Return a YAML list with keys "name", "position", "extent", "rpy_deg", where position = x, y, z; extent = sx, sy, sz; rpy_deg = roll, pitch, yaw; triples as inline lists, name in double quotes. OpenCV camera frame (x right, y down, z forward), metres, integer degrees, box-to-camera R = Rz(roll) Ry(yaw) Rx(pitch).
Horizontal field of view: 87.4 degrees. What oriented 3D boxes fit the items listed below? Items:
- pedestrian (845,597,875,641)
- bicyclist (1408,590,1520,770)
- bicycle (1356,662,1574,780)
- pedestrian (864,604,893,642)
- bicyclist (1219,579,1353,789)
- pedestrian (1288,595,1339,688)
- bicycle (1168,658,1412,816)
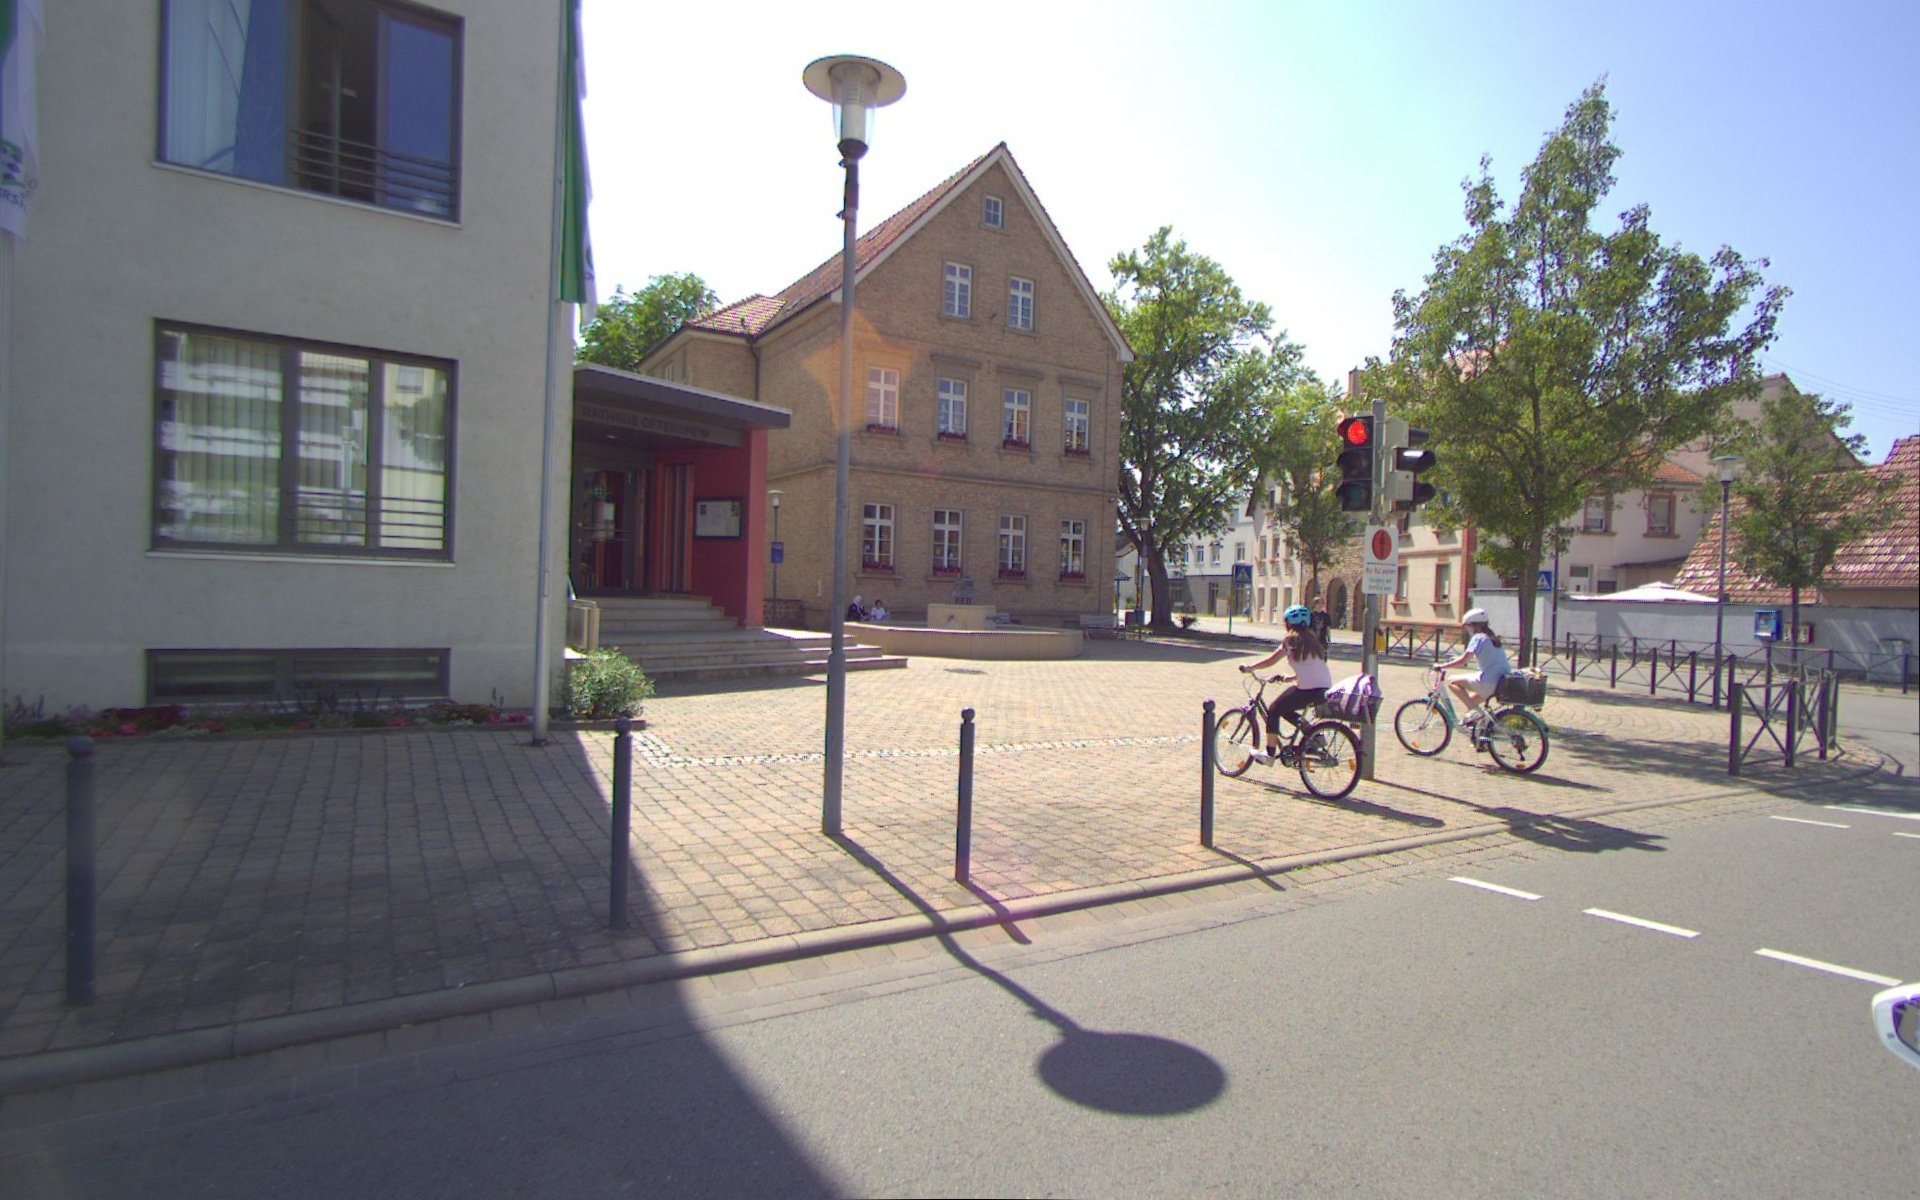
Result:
- name: "pedestrian"
  position: [-2.836, 0.536, 28.467]
  extent: [0.611, 1.186, 0.636]
  rpy_deg: [2, 1, -29]
- name: "bicyclist"
  position: [4.982, 0.762, 9.939]
  extent: [0.663, 1.686, 0.755]
  rpy_deg: [1, -1, -31]
- name: "bicycle"
  position: [4.947, 1.142, 9.976]
  extent: [0.668, 0.970, 1.880]
  rpy_deg: [1, -1, -31]
- name: "pedestrian"
  position: [-2.340, 0.654, 28.883]
  extent: [0.611, 1.041, 0.636]
  rpy_deg: [2, 1, -29]
- name: "bicyclist"
  position: [2.633, 0.639, 8.150]
  extent: [0.663, 1.603, 0.755]
  rpy_deg: [1, 1, -32]
- name: "pedestrian"
  position: [6.654, 0.762, 18.927]
  extent: [0.798, 1.676, 0.851]
  rpy_deg: [3, 1, 19]
- name: "bicycle"
  position: [2.615, 1.042, 8.190]
  extent: [0.668, 0.971, 1.879]
  rpy_deg: [1, 1, -32]
